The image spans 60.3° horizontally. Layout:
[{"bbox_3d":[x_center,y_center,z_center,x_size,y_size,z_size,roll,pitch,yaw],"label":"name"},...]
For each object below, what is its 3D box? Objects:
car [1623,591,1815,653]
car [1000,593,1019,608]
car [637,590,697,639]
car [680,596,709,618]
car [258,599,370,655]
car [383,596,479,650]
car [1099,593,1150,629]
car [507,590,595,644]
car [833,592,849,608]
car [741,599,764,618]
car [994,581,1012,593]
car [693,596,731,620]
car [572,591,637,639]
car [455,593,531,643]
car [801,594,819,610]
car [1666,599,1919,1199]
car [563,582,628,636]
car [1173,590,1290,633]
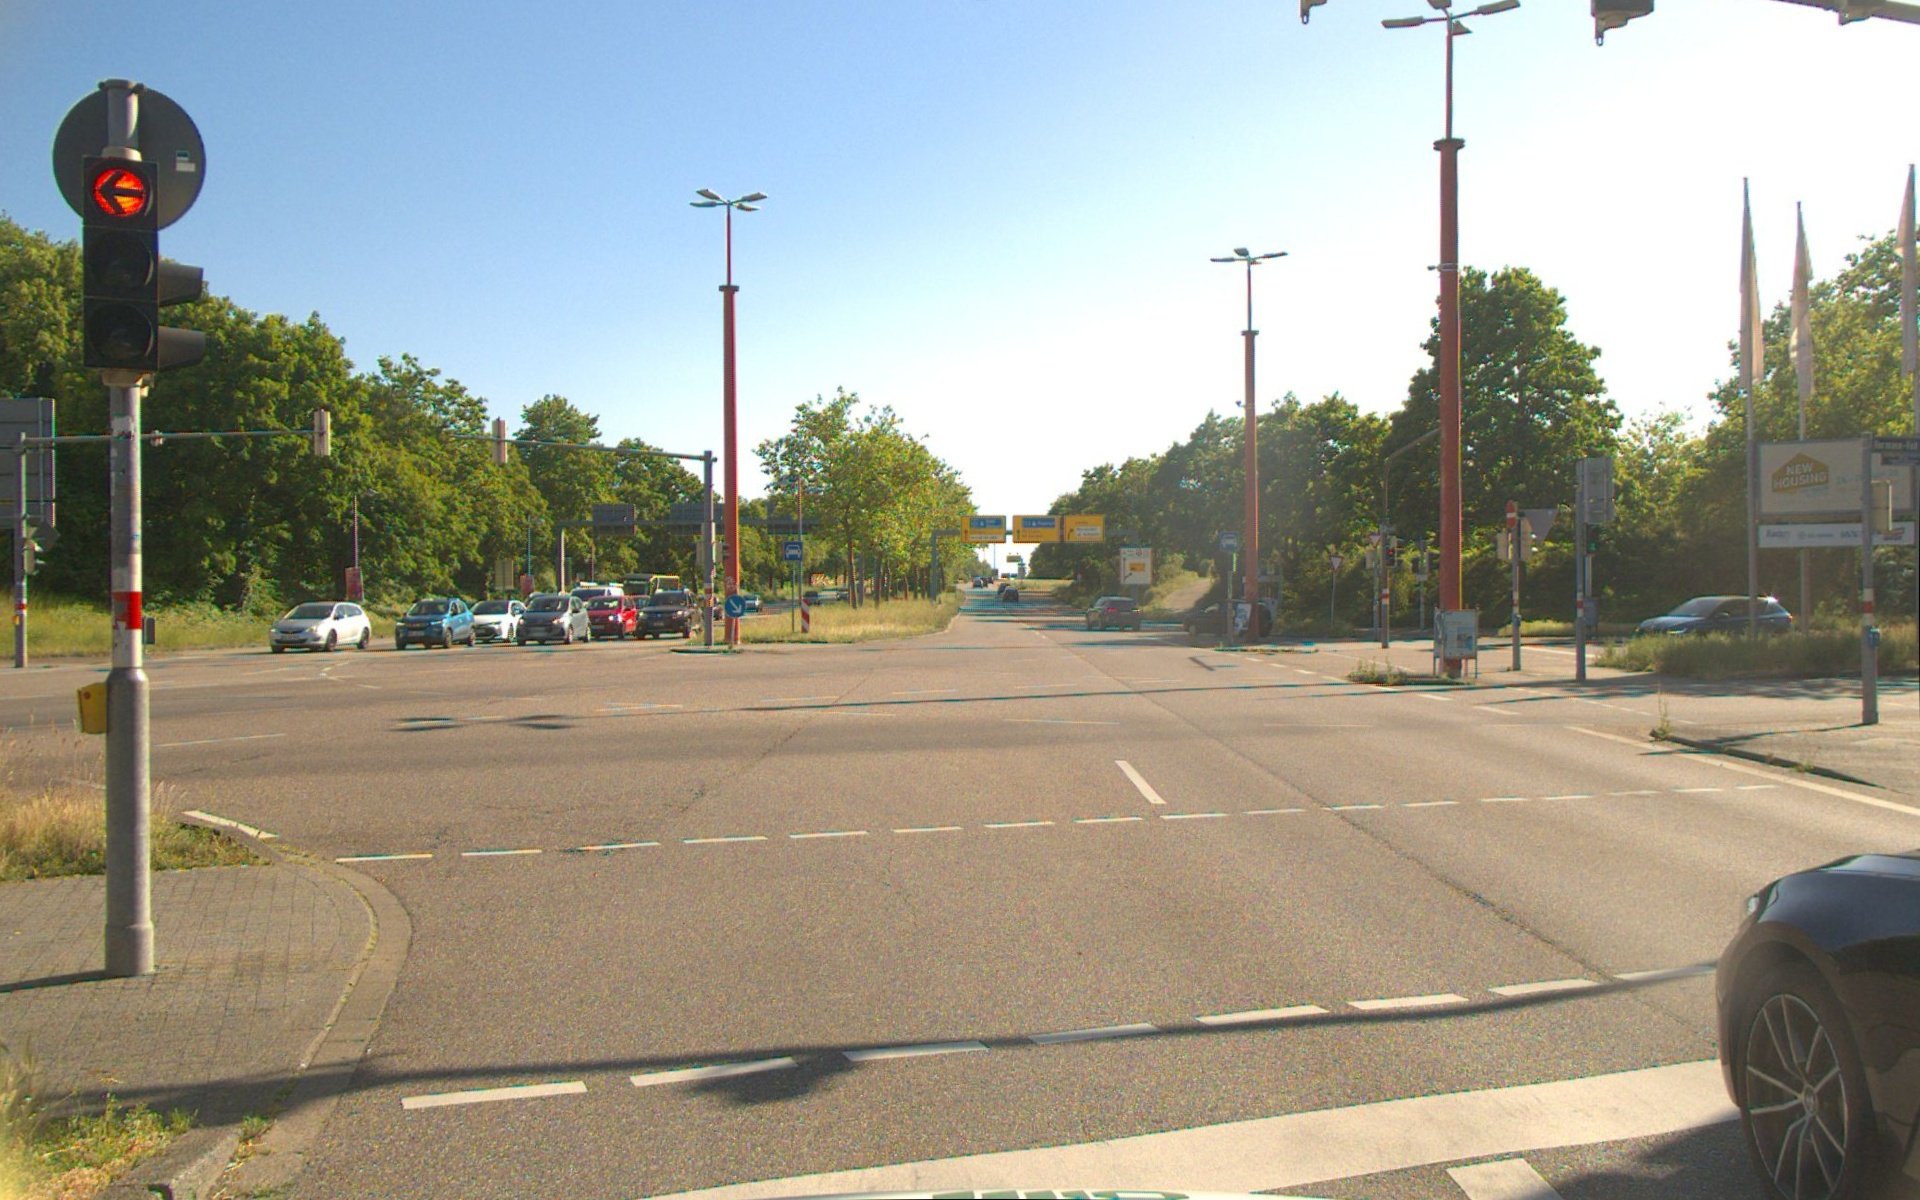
[{"bbox_3d":[18.758,0.526,40.909,4.201,1.453,1.874,0,0,-19],"label":"car"},{"bbox_3d":[5.660,0.051,189.629,2.114,1.601,4.281,0,0,1],"label":"car"},{"bbox_3d":[-9.874,0.465,56.000,1.841,1.601,4.113,0,0,-8],"label":"car"},{"bbox_3d":[-19.988,0.515,124.810,1.840,1.601,4.116,0,0,-5],"label":"car"},{"bbox_3d":[-19.586,0.779,50.308,1.954,1.601,4.118,0,0,-3],"label":"car"},{"bbox_3d":[-16.208,0.676,50.901,1.955,1.601,4.116,0,0,-5],"label":"car"},{"bbox_3d":[7.603,0.496,76.797,2.114,1.601,4.584,0,0,3],"label":"car"},{"bbox_3d":[-12.805,0.515,51.974,1.954,1.601,4.118,0,0,-4],"label":"car"},{"bbox_3d":[-14.304,-0.014,198.791,1.860,1.802,3.847,0,0,-3],"label":"car"},{"bbox_3d":[-17.982,0.727,143.558,1.840,1.601,3.943,0,0,-5],"label":"car"},{"bbox_3d":[6.099,-1.803,233.924,2.116,1.601,4.277,0,0,-4],"label":"car"},{"bbox_3d":[-15.507,0.488,103.565,1.784,1.480,3.656,0,0,0],"label":"car"},{"bbox_3d":[-12.478,0.501,58.281,1.956,1.601,4.113,0,0,-8],"label":"car"},{"bbox_3d":[-15.990,0.590,56.794,1.956,1.601,4.113,-1,0,-8],"label":"car"},{"bbox_3d":[-15.407,0.166,170.284,1.840,1.601,4.116,0,0,-5],"label":"car"},{"bbox_3d":[2.970,0.712,2.369,1.953,1.419,4.476,0,0,-1],"label":"car"},{"bbox_3d":[-15.670,0.379,71.274,2.021,2.231,4.376,0,0,-3],"label":"car"},{"bbox_3d":[10.565,0.431,64.584,2.145,1.601,4.221,0,0,-39],"label":"car"}]
